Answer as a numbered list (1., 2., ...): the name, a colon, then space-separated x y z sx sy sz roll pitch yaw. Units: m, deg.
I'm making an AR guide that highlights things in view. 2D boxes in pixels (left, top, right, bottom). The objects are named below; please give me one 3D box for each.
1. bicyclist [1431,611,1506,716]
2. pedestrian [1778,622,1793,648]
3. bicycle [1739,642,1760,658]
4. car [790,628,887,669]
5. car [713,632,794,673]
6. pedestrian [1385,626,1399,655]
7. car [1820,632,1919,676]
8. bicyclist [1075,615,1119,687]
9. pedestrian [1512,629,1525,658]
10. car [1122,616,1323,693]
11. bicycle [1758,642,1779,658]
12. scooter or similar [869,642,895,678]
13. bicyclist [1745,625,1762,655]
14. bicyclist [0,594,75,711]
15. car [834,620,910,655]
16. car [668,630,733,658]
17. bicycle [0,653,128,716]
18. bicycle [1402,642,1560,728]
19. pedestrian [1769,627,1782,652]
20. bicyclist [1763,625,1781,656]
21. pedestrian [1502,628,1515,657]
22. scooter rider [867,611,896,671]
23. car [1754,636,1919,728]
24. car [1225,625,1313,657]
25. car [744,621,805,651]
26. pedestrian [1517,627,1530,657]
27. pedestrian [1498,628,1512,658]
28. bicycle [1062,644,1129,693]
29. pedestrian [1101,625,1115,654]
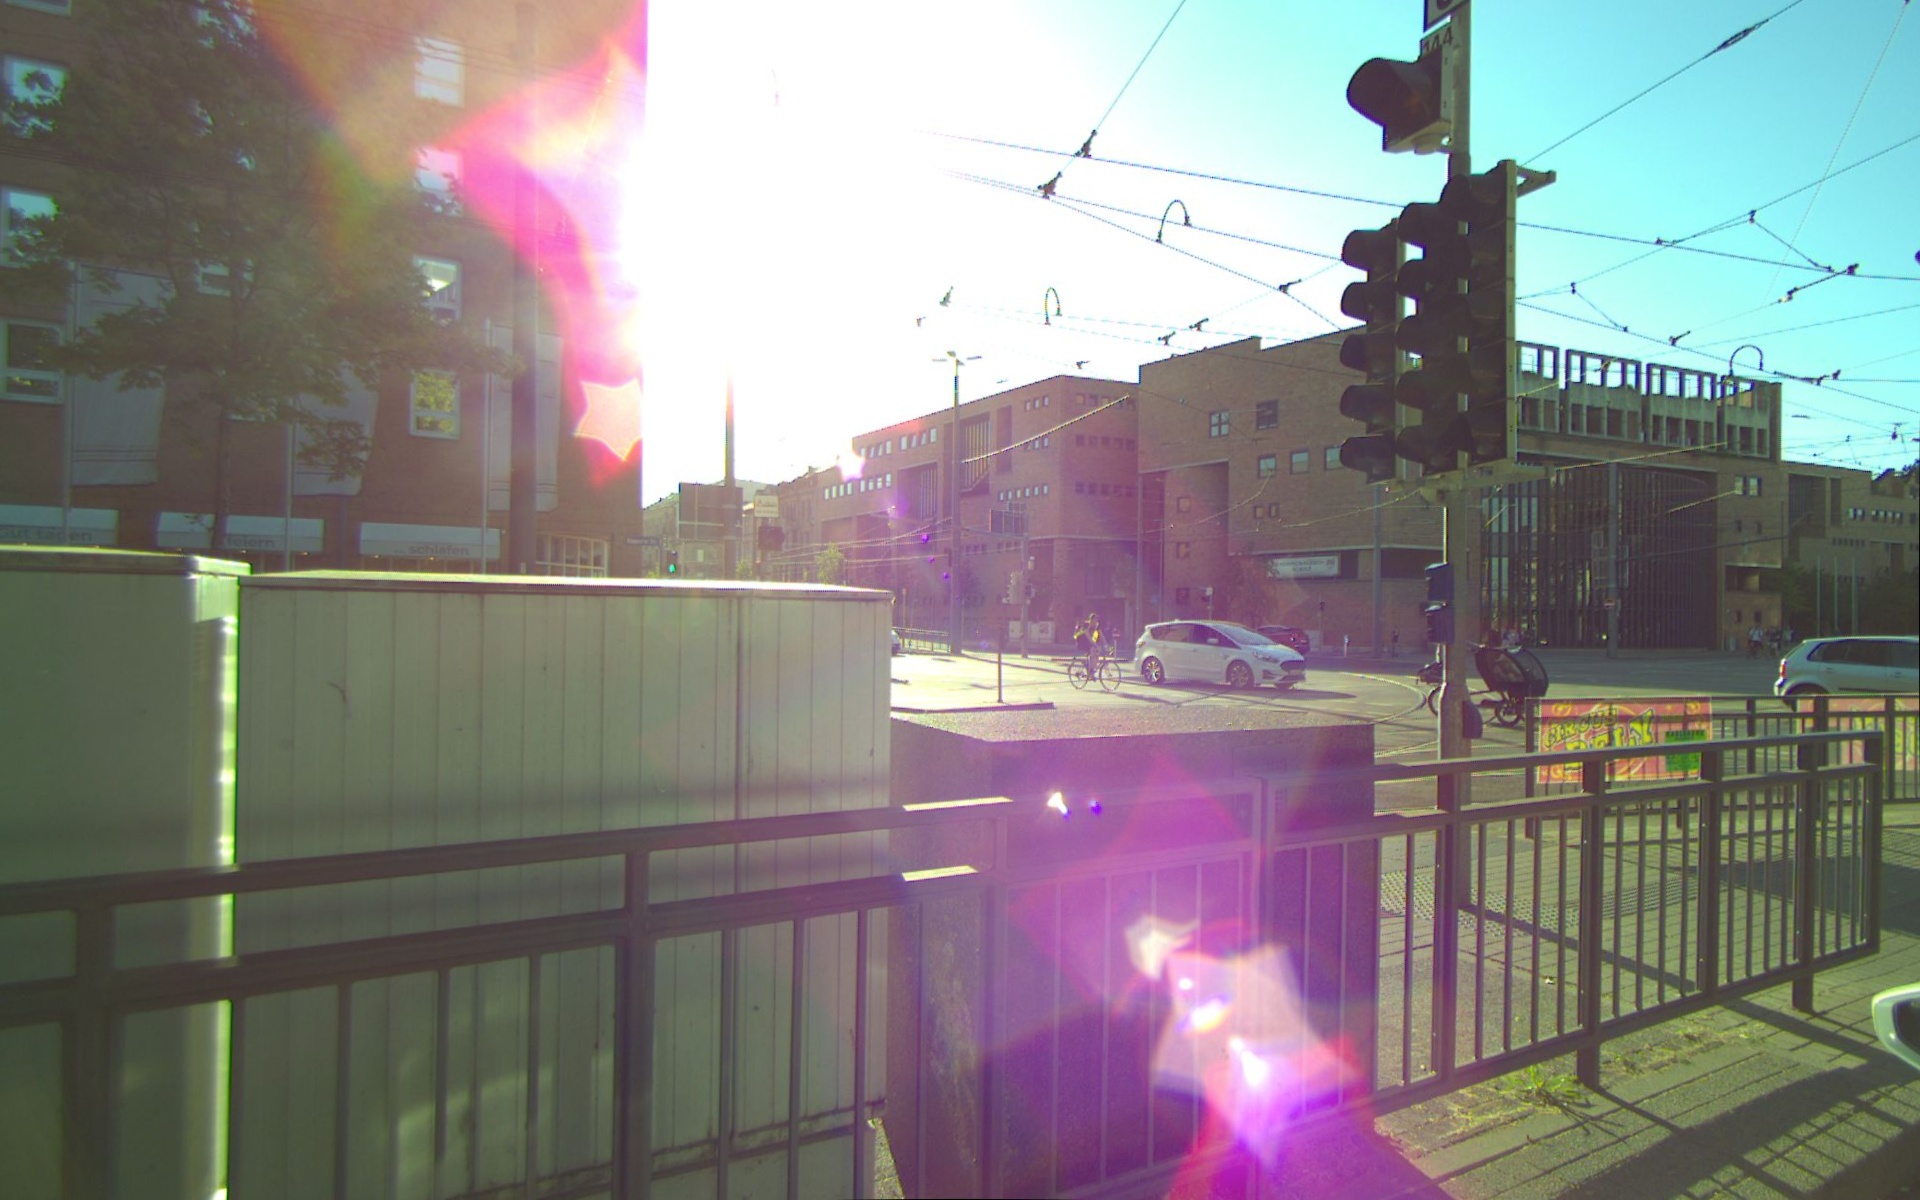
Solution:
1. bicyclist: 8.532 1.037 16.872 0.682 1.703 0.901 1 -1 -26
2. pedestrian: 58.977 2.496 71.786 0.538 1.834 0.640 1 -1 -23
3. bicycle: 44.345 2.813 56.431 1.823 0.893 0.509 2 -2 -38
4. car: -5.096 1.960 41.670 1.983 1.538 4.348 0 -1 -39
5. car: -7.687 1.900 37.195 1.625 1.416 3.269 1 -2 -39
6. pedestrian: 24.380 2.269 56.645 0.560 1.635 0.545 0 -1 1
7. car: 31.856 1.799 33.798 1.780 1.411 4.207 1 -2 -39
8. bicyclist: 3.282 1.196 24.081 0.631 1.686 0.901 1 -1 -27
9. pedestrian: 32.211 2.491 57.917 0.530 1.672 0.622 -1 -2 41
10. car: 6.547 1.298 25.591 1.981 1.750 4.800 1 -1 -36
11. bicycle: 44.998 2.783 55.874 1.823 0.893 0.509 2 -2 -38
12. scooter or similar: -2.526 1.915 32.446 0.397 1.119 1.202 1 -1 -26
13. bicyclist: 44.519 2.248 56.357 0.782 1.697 0.589 1 -1 -36
14. bicyclist: -14.763 0.822 15.970 0.841 1.808 0.747 1 -1 -27
15. car: -4.603 1.904 52.053 1.981 1.719 4.316 1 -2 -36
16. car: -13.796 2.281 53.233 1.980 1.398 4.351 1 -2 -35
17. bicycle: -14.721 1.336 15.985 2.156 0.946 0.663 1 -1 -27
18. bicycle: 8.590 1.356 16.671 1.058 1.243 2.150 0 -1 -26
19. pedestrian: 57.908 2.793 71.293 0.538 1.803 0.521 1 -1 -23
20. bicyclist: 45.102 2.265 55.820 0.782 1.697 0.589 1 -1 -36
21. pedestrian: 31.417 2.437 57.495 0.530 1.672 0.622 0 -1 41
22. scooter rider: -2.545 1.317 32.485 0.727 1.921 0.661 1 -2 -27
23. car: 16.089 1.366 16.948 1.806 1.453 3.884 1 -1 -34
24. car: 16.486 2.181 53.741 1.781 1.623 4.206 2 -2 -40
25. car: -11.428 2.184 61.702 1.981 1.719 4.316 1 -2 -36
26. pedestrian: 31.961 2.366 56.931 0.530 1.672 0.622 -1 -2 41
27. pedestrian: 30.767 2.442 56.724 0.530 1.672 0.622 0 -1 41
28. bicycle: 3.229 1.618 24.178 0.621 1.078 1.916 1 -1 -27
29. pedestrian: 8.683 2.315 58.984 0.608 1.635 0.540 -1 2 -35
